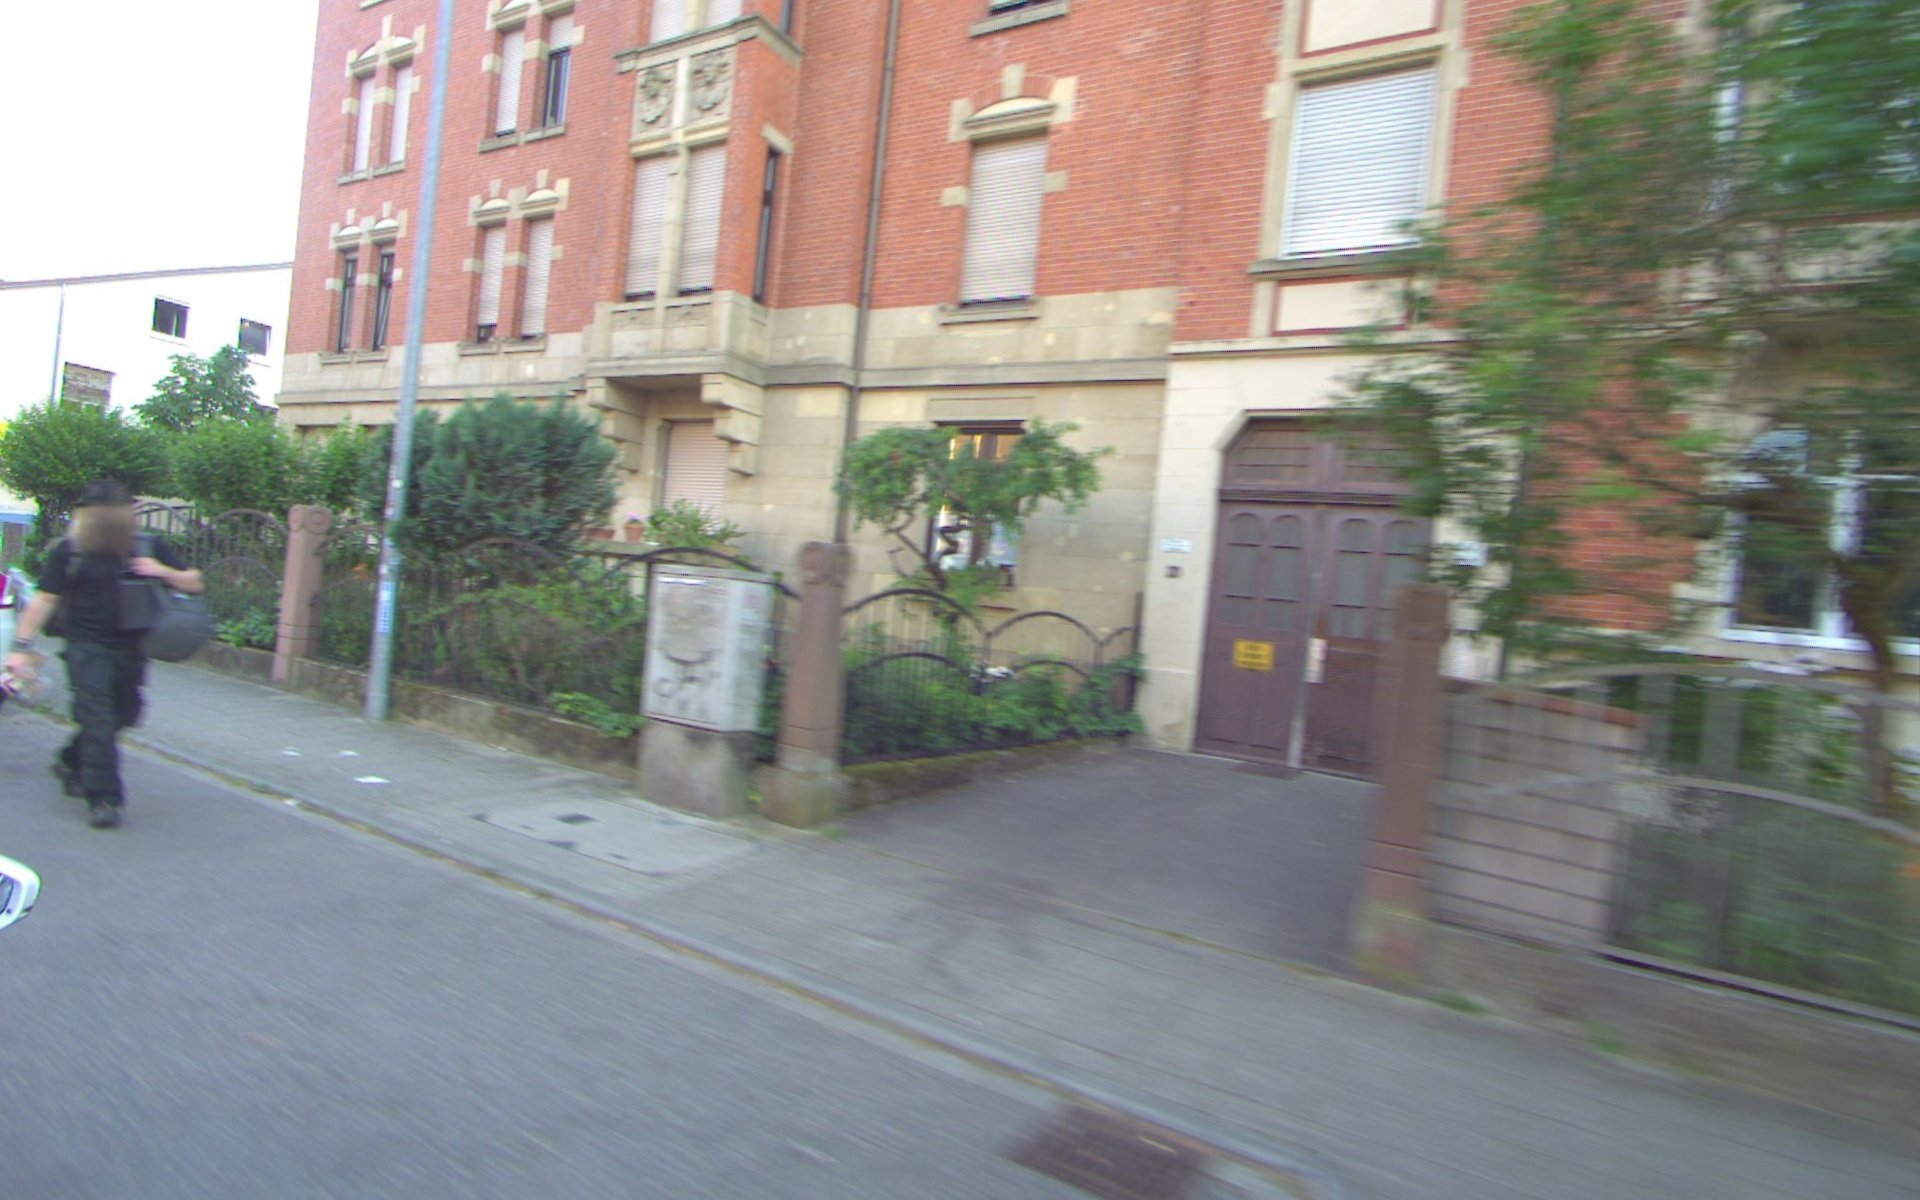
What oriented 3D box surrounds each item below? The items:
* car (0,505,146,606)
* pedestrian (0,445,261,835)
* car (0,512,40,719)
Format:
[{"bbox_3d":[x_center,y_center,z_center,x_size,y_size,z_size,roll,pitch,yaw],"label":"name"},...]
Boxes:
[{"bbox_3d":[-15.815,-0.838,16.987,4.349,1.442,1.728,5,1,30],"label":"car"},{"bbox_3d":[-4.332,0.191,5.101,0.944,1.742,0.888,6,-2,37],"label":"pedestrian"},{"bbox_3d":[-8.855,-0.088,7.739,3.800,1.494,1.676,5,-1,34],"label":"car"}]
